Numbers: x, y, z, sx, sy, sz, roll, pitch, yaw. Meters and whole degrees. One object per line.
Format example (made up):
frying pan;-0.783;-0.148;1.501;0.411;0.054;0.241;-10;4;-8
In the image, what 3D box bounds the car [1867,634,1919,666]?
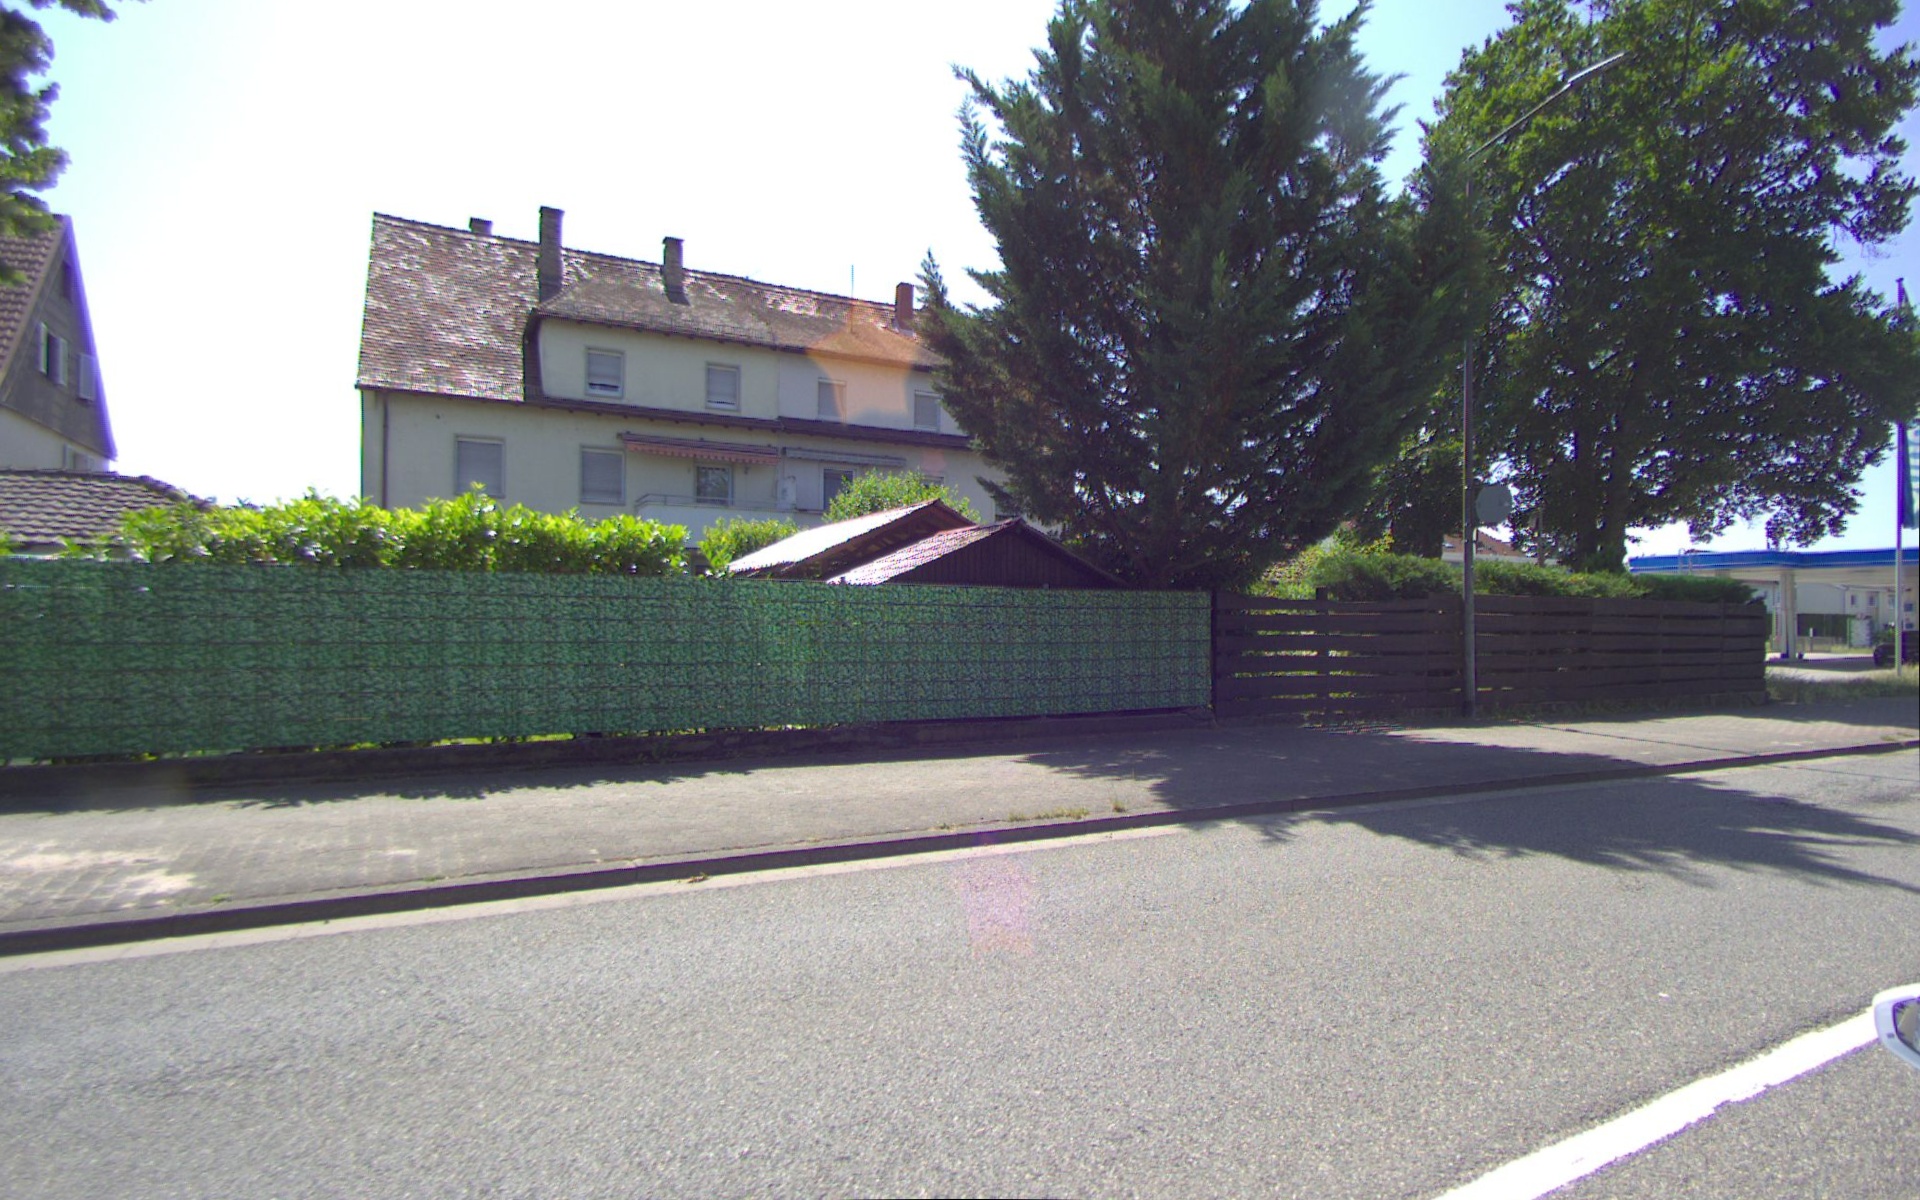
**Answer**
car;44.976;2.367;47.622;3.949;1.400;1.664;1;-1;-27
